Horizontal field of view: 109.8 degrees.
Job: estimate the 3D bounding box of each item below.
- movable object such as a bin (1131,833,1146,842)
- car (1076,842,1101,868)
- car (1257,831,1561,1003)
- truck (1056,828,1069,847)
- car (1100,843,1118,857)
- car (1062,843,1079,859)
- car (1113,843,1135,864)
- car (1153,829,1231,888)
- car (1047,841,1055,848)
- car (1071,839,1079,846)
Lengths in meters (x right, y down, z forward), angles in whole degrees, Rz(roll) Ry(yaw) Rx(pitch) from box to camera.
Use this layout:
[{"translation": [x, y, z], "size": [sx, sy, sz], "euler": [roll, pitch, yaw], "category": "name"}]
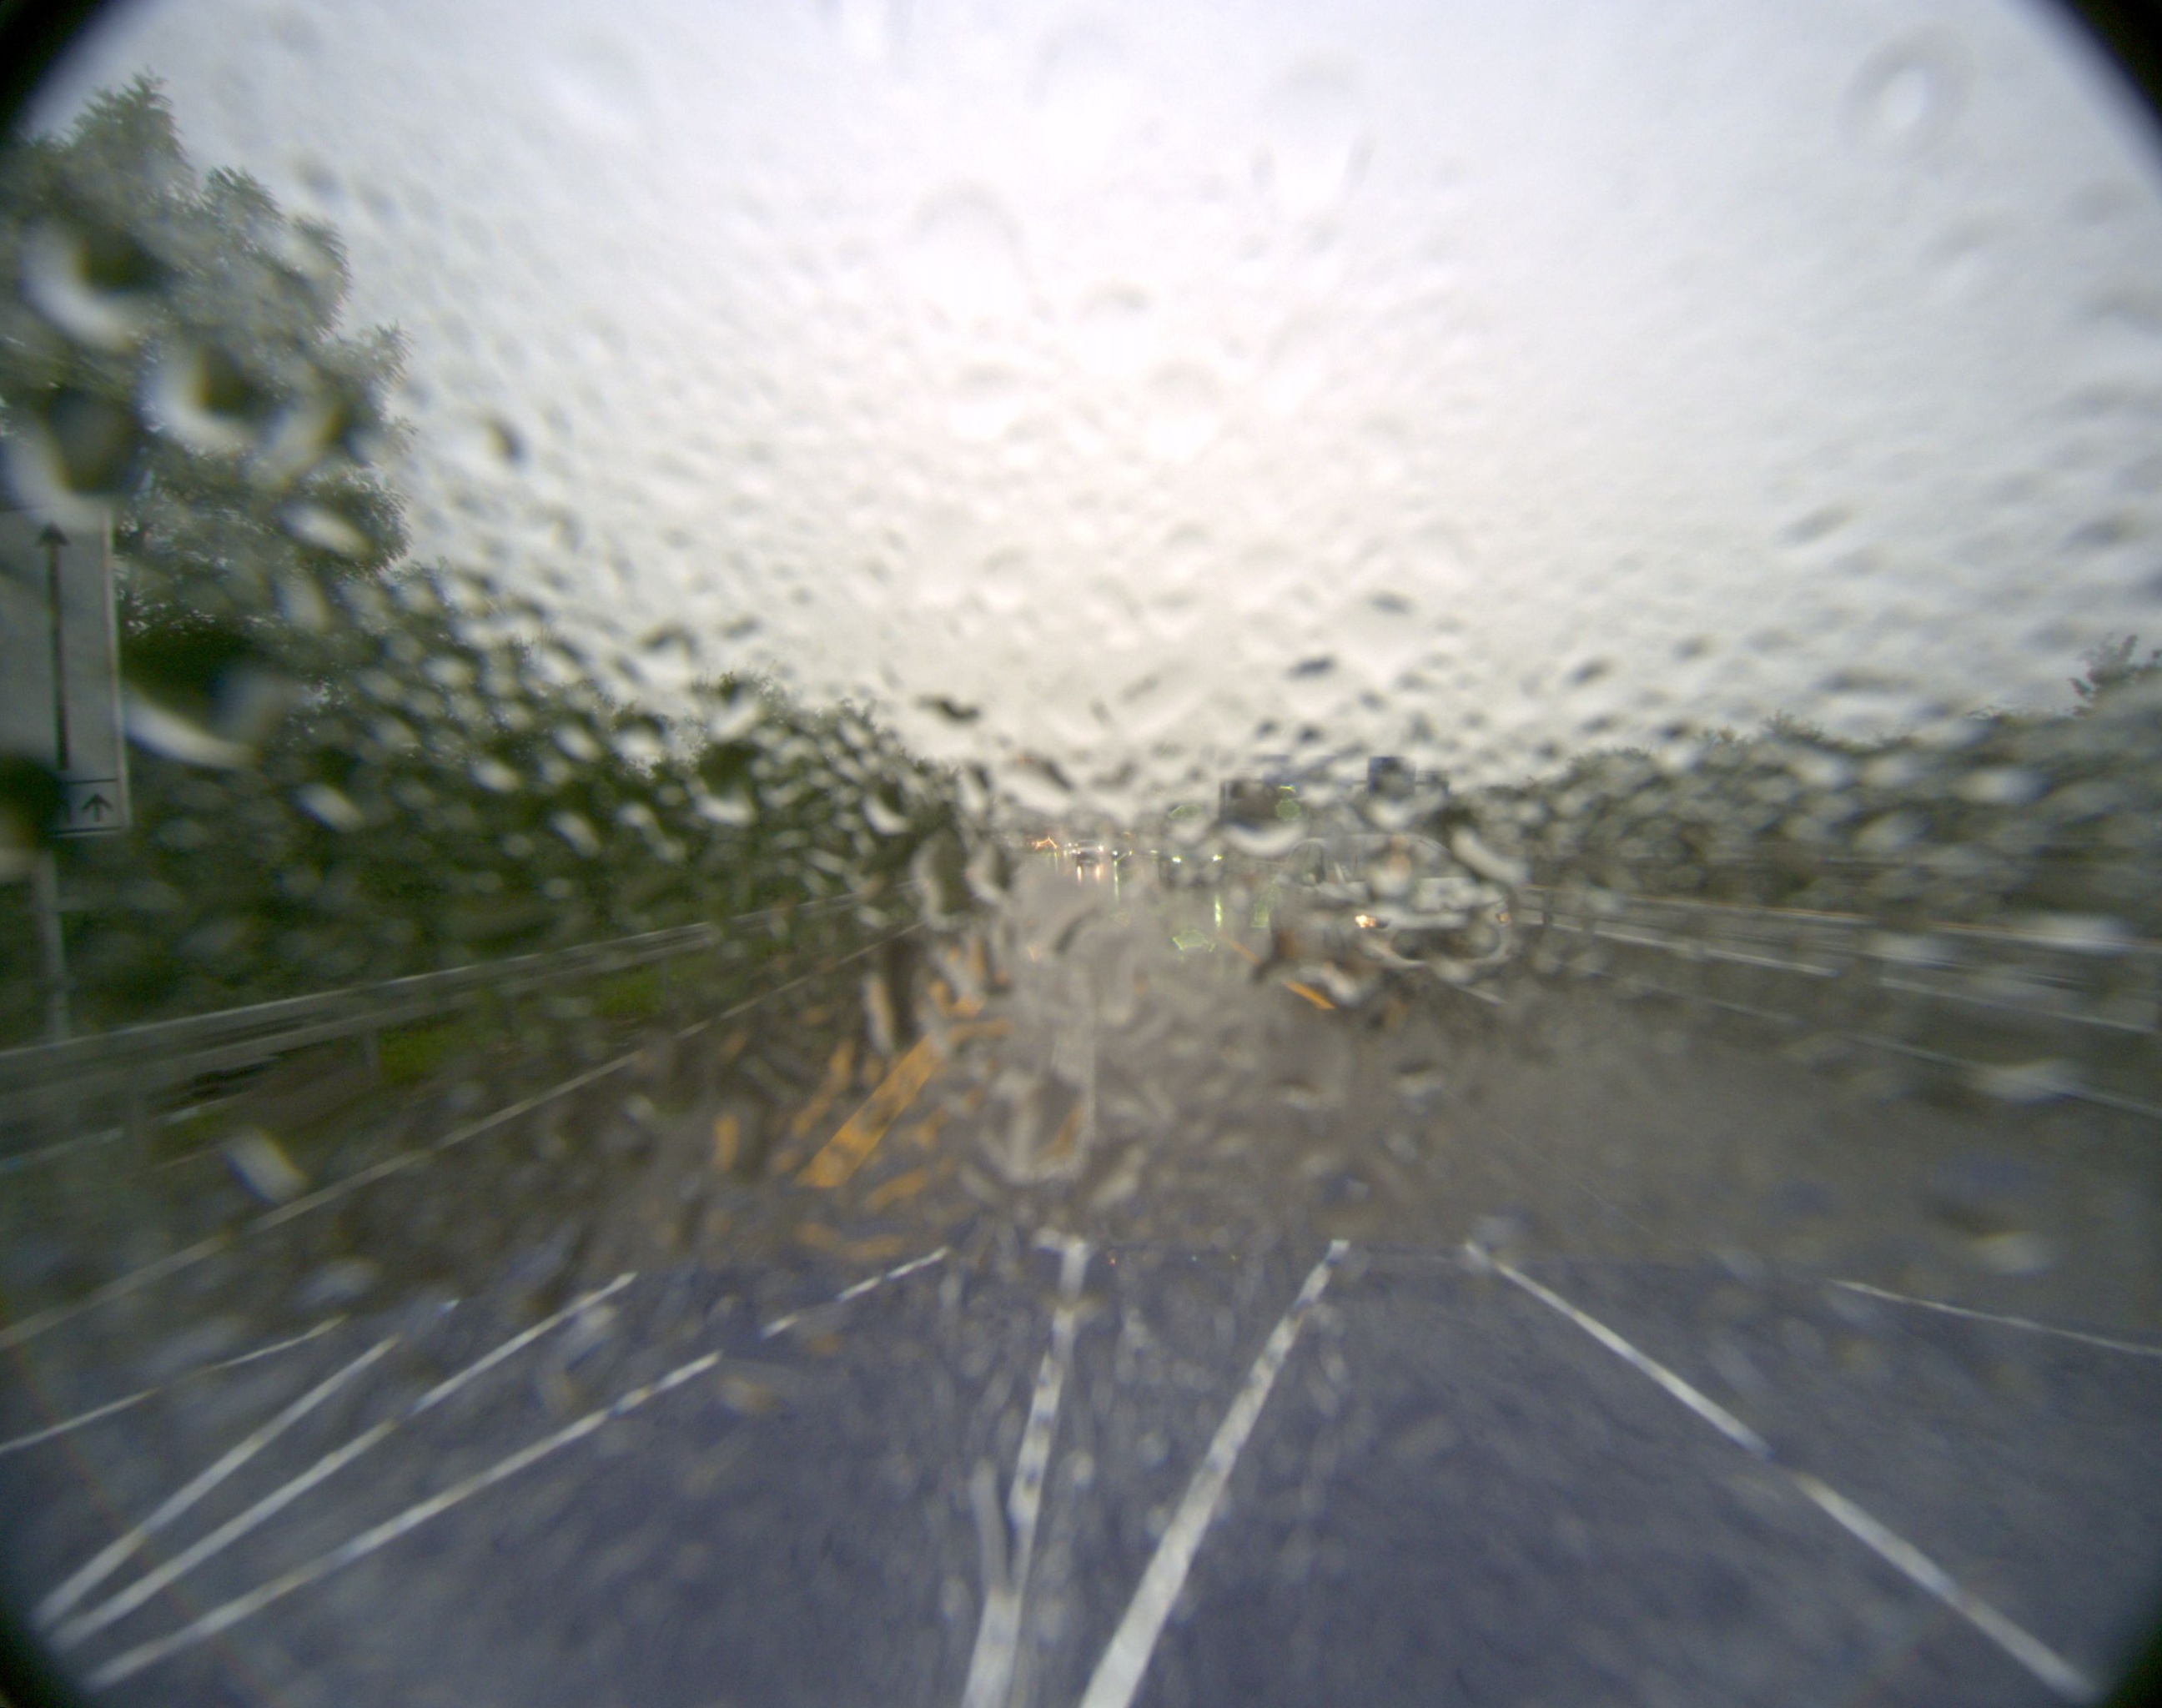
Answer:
[{"translation": [17.414, -5.005, 229.764], "size": [3.449, 2.282, 5.096], "euler": [-3, 2, -9], "category": "movable object such as a bin"}, {"translation": [0.619, 0.028, 64.637], "size": [1.881, 2.002, 3.998], "euler": [-3, 2, -1], "category": "car"}, {"translation": [3.645, 0.601, 9.440], "size": [1.978, 1.586, 4.309], "euler": [-2, 0, 2], "category": "car"}, {"translation": [-4.168, -3.719, 170.578], "size": [2.484, 4.061, 8.699], "euler": [-3, 2, -3], "category": "truck"}, {"translation": [3.537, -0.494, 96.000], "size": [1.845, 1.586, 3.998], "euler": [-3, 2, -3], "category": "car"}, {"translation": [-1.193, -0.355, 86.312], "size": [1.881, 1.657, 3.999], "euler": [-2, 1, 0], "category": "car"}, {"translation": [3.917, -0.059, 69.765], "size": [1.695, 1.740, 3.999], "euler": [-3, 2, 0], "category": "car"}, {"translation": [4.165, 0.088, 29.551], "size": [2.211, 2.002, 5.562], "euler": [-3, 1, 1], "category": "car"}, {"translation": [-8.017, -2.653, 201.773], "size": [1.834, 1.740, 3.998], "euler": [-3, 2, -3], "category": "car"}, {"translation": [-1.438, -2.746, 178.541], "size": [1.752, 1.579, 3.998], "euler": [-3, 2, -3], "category": "car"}]
